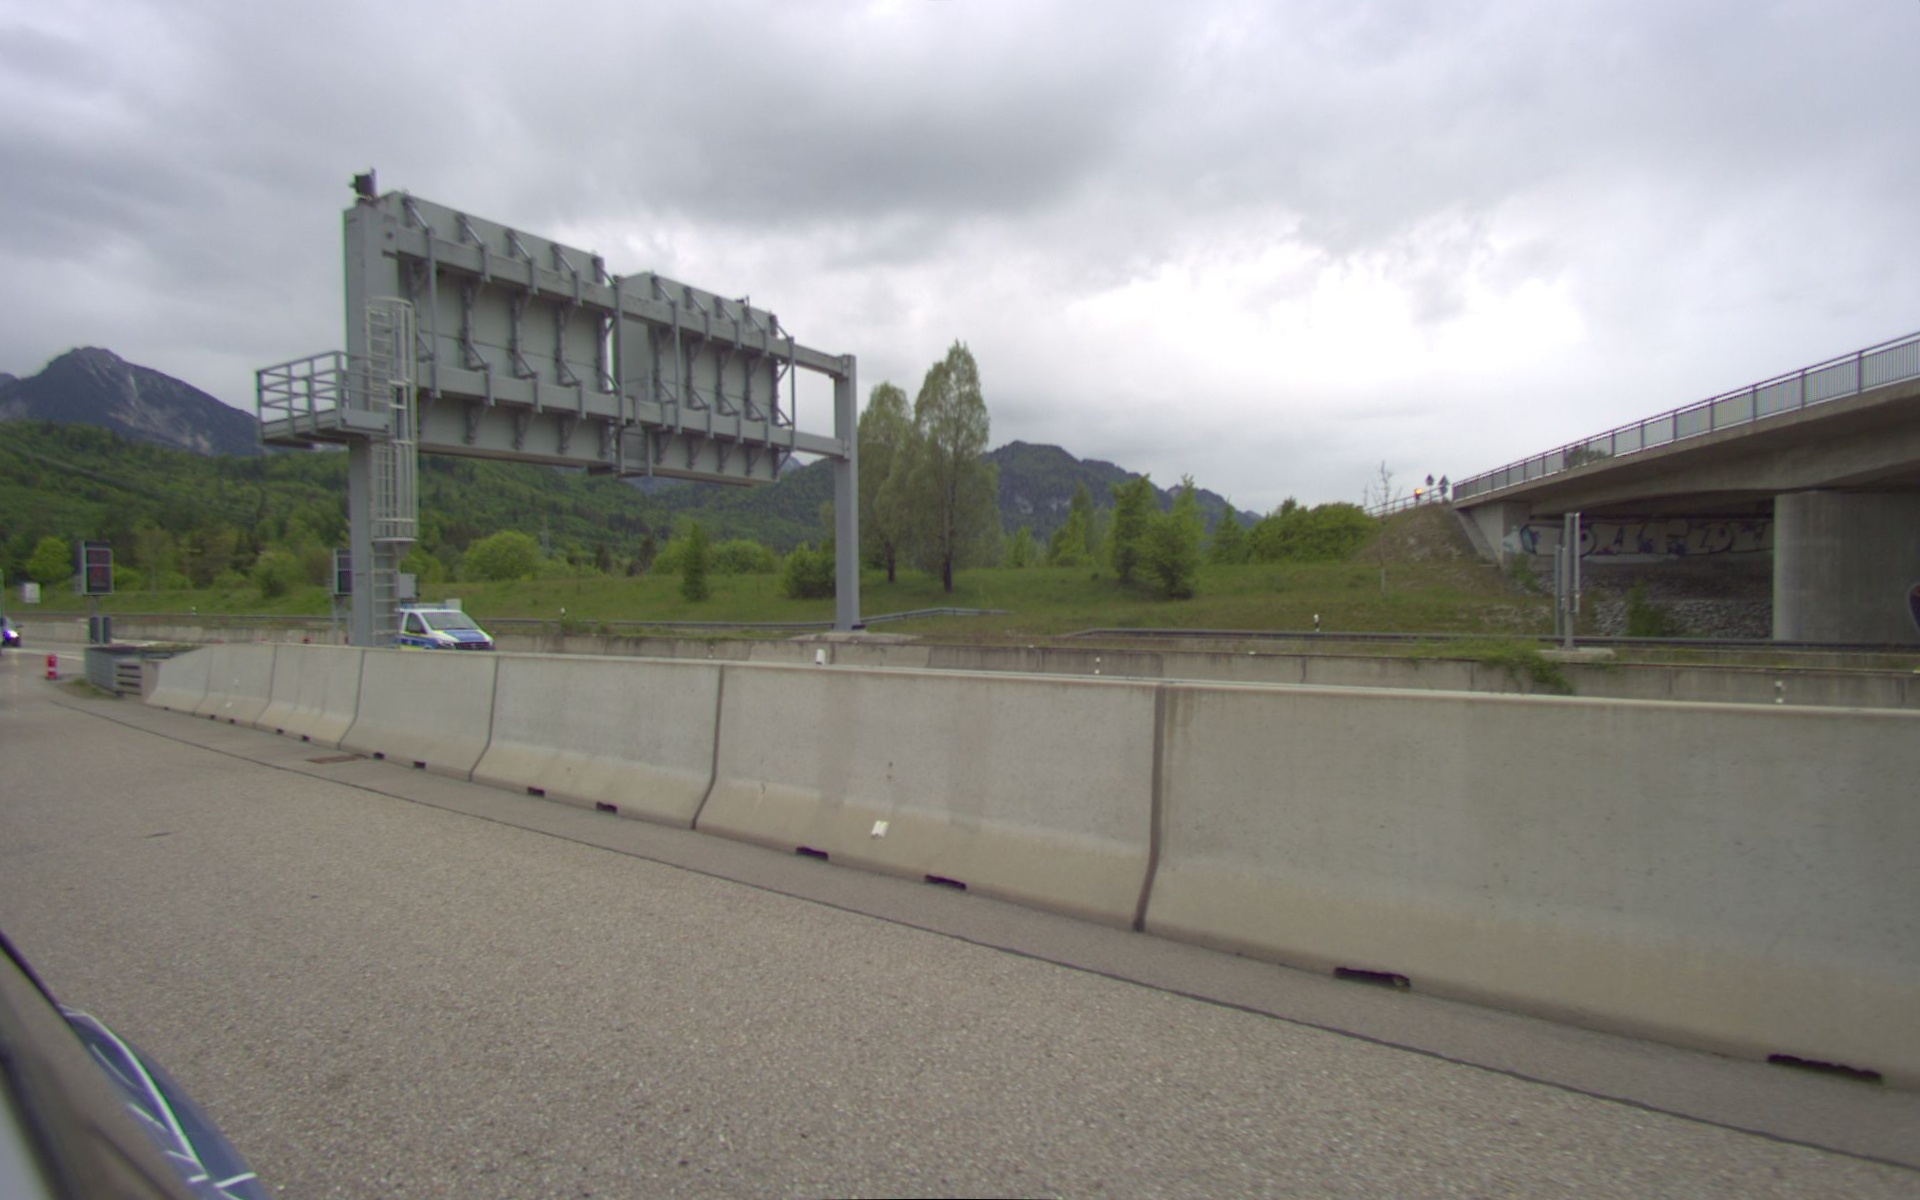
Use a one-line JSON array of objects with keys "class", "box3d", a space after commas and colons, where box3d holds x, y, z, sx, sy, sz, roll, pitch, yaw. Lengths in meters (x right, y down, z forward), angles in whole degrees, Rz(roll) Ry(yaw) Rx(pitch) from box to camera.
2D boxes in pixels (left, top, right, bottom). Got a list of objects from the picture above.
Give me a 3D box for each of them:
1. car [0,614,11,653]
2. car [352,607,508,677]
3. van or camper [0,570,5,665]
[{"class": "car", "box3d": [-45.181, 1.564, 46.790, 4.002, 1.778, 1.718, -1, 1, 45]}, {"class": "car", "box3d": [-16.504, 1.248, 31.429, 5.036, 2.029, 2.082, -1, -1, 33]}, {"class": "van or camper", "box3d": [-37.823, 0.651, 38.136, 2.545, 3.417, 7.361, 1, -2, -44]}]
